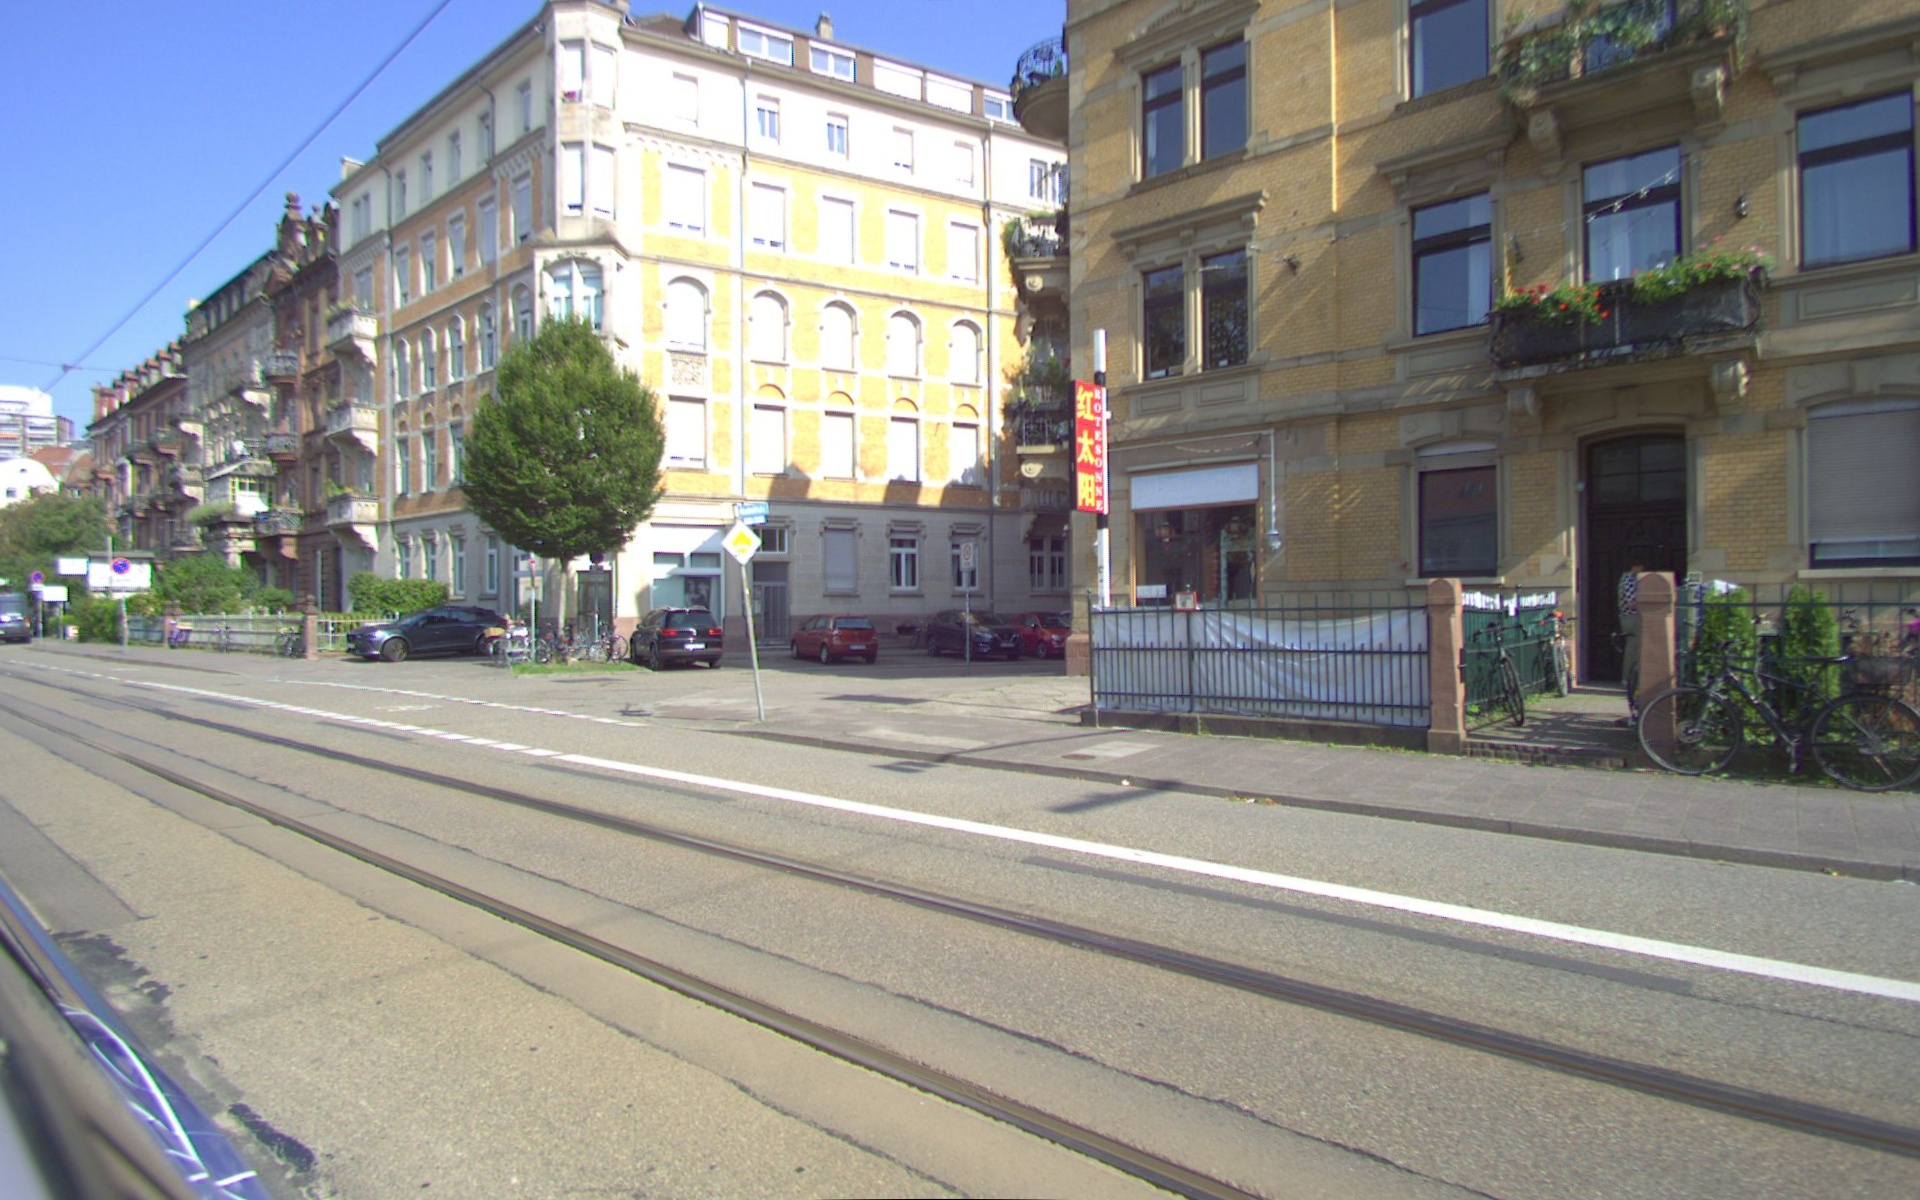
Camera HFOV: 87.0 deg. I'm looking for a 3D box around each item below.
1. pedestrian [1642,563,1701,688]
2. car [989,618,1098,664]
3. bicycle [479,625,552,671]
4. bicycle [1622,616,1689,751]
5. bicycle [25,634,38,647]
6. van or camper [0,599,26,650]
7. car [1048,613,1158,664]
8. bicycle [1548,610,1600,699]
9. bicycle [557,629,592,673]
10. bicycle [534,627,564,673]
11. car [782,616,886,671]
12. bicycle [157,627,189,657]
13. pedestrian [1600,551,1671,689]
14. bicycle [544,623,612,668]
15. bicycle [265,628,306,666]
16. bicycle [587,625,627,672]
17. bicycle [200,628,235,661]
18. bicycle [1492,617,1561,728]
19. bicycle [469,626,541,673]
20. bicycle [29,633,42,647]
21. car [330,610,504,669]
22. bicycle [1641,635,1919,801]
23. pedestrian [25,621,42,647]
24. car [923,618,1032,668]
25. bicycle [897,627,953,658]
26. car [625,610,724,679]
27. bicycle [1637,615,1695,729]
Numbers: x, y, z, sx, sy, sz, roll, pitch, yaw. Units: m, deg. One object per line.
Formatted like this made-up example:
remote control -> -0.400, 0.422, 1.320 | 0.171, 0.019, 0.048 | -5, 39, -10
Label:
pedestrian -> 9.818, 0.353, 13.981 | 0.578, 1.680, 0.546 | -1, -1, 29
car -> 2.755, 1.340, 34.081 | 1.738, 1.466, 3.779 | 0, -1, -32
bicycle -> -11.979, 1.266, 27.330 | 0.541, 1.190, 1.844 | -1, -1, 29
bicycle -> 6.230, 0.704, 9.048 | 0.416, 1.068, 1.345 | -1, 0, 37
bicycle -> -62.312, 2.711, 67.921 | 1.702, 0.866, 0.520 | -2, -1, 43
van or camper -> -52.476, 1.310, 55.311 | 2.026, 2.664, 6.096 | 1, -1, -43
car -> 4.882, 1.294, 35.054 | 1.738, 1.618, 3.902 | 0, -1, -30
bicycle -> 7.891, 0.671, 12.989 | 0.416, 1.068, 1.469 | -1, -1, 37
bicycle -> -10.257, 1.332, 26.874 | 0.534, 1.098, 1.842 | 1, -1, -31
bicycle -> -10.791, 1.291, 26.542 | 0.475, 1.168, 1.778 | 1, -1, -30
car -> -3.877, 1.262, 30.658 | 1.738, 1.538, 3.779 | 0, -1, -32
bicycle -> -30.168, 1.587, 38.775 | 1.839, 1.066, 0.600 | -2, 3, 42
pedestrian -> 9.349, 0.276, 14.029 | 0.572, 1.863, 0.551 | 0, -1, 1
bicycle -> -10.876, 1.280, 28.858 | 1.744, 1.266, 0.544 | 1, -2, -36
bicycle -> -20.279, 1.408, 30.415 | 1.839, 1.066, 0.539 | -2, 3, 42
bicycle -> -9.566, 1.294, 27.409 | 0.534, 1.239, 1.777 | 1, -2, -36
bicycle -> -25.637, 1.514, 34.949 | 1.839, 1.066, 0.539 | -2, 3, 42
bicycle -> 5.878, 0.710, 10.468 | 0.416, 1.068, 1.469 | -1, -1, 37
bicycle -> -12.363, 1.325, 27.556 | 0.541, 1.206, 1.834 | -1, -1, 29
bicycle -> -61.042, 2.648, 66.802 | 1.702, 0.934, 0.520 | -2, -1, 43
car -> -16.092, 1.118, 30.154 | 2.062, 1.554, 4.096 | 0, 0, 39
bicycle -> 6.298, 0.828, 7.515 | 2.002, 1.116, 0.503 | -1, -1, 41
pedestrian -> -60.737, 2.213, 66.327 | 0.631, 1.691, 0.632 | -2, -1, 28
car -> 0.494, 1.321, 32.560 | 1.738, 1.466, 3.957 | 0, -1, -29
bicycle -> -1.249, 1.526, 36.494 | 1.977, 1.076, 0.595 | 0, -1, -29
car -> -7.847, 1.153, 27.603 | 1.738, 1.673, 3.780 | -2, 1, -29
bicycle -> 7.076, 0.684, 10.128 | 0.416, 1.068, 1.345 | -1, -1, 37
